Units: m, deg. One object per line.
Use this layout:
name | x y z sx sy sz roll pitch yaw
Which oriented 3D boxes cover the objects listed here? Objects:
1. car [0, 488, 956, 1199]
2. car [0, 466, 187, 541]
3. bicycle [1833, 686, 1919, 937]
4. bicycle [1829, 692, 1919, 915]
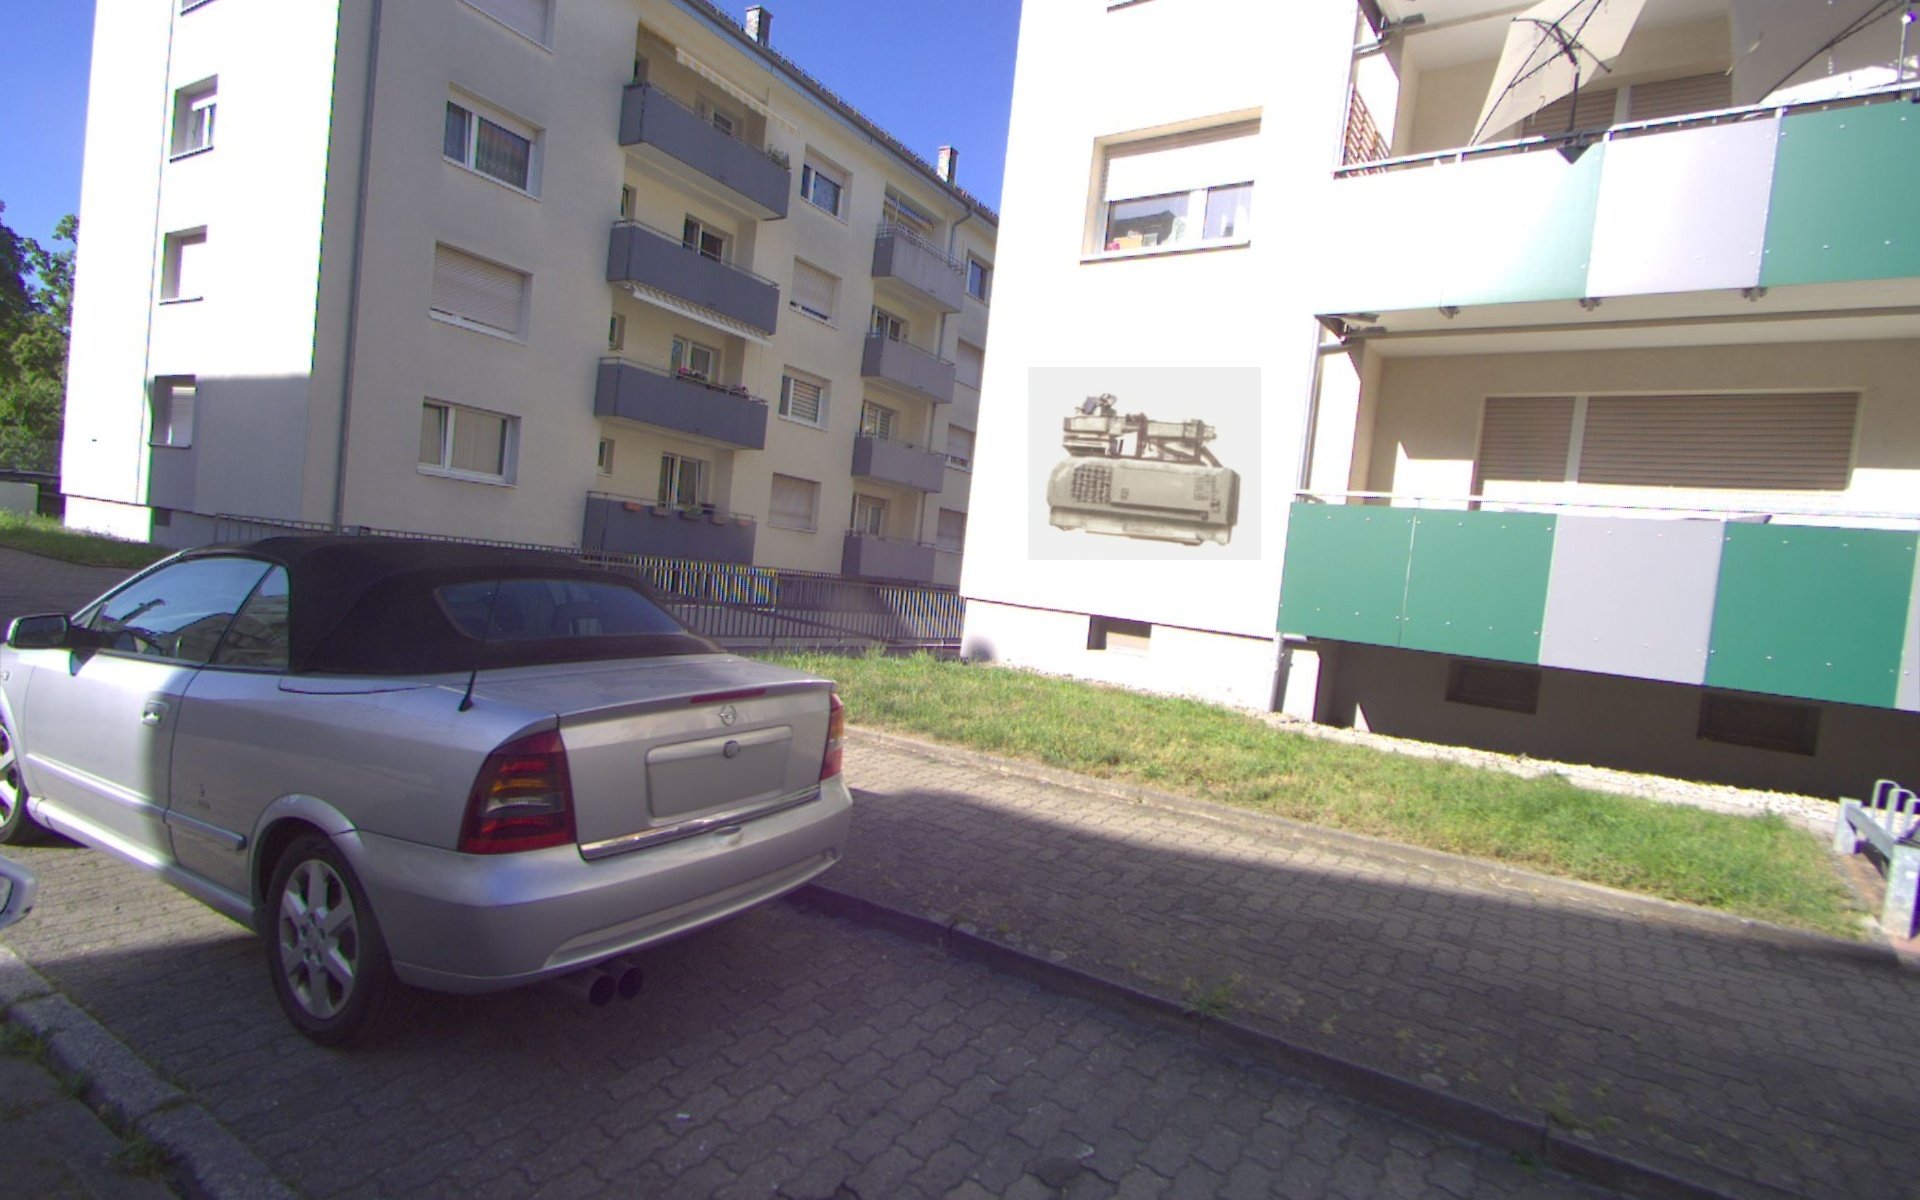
car | -2.326 0.419 4.018 4.241 1.426 1.742 7 3 30
car | -24.897 -2.729 28.759 1.595 1.568 4.077 7 1 29
bicycle | 5.129 1.059 4.261 2.044 1.106 0.504 7 1 40
bicycle | 5.469 1.103 4.686 2.044 1.057 0.504 7 1 40
